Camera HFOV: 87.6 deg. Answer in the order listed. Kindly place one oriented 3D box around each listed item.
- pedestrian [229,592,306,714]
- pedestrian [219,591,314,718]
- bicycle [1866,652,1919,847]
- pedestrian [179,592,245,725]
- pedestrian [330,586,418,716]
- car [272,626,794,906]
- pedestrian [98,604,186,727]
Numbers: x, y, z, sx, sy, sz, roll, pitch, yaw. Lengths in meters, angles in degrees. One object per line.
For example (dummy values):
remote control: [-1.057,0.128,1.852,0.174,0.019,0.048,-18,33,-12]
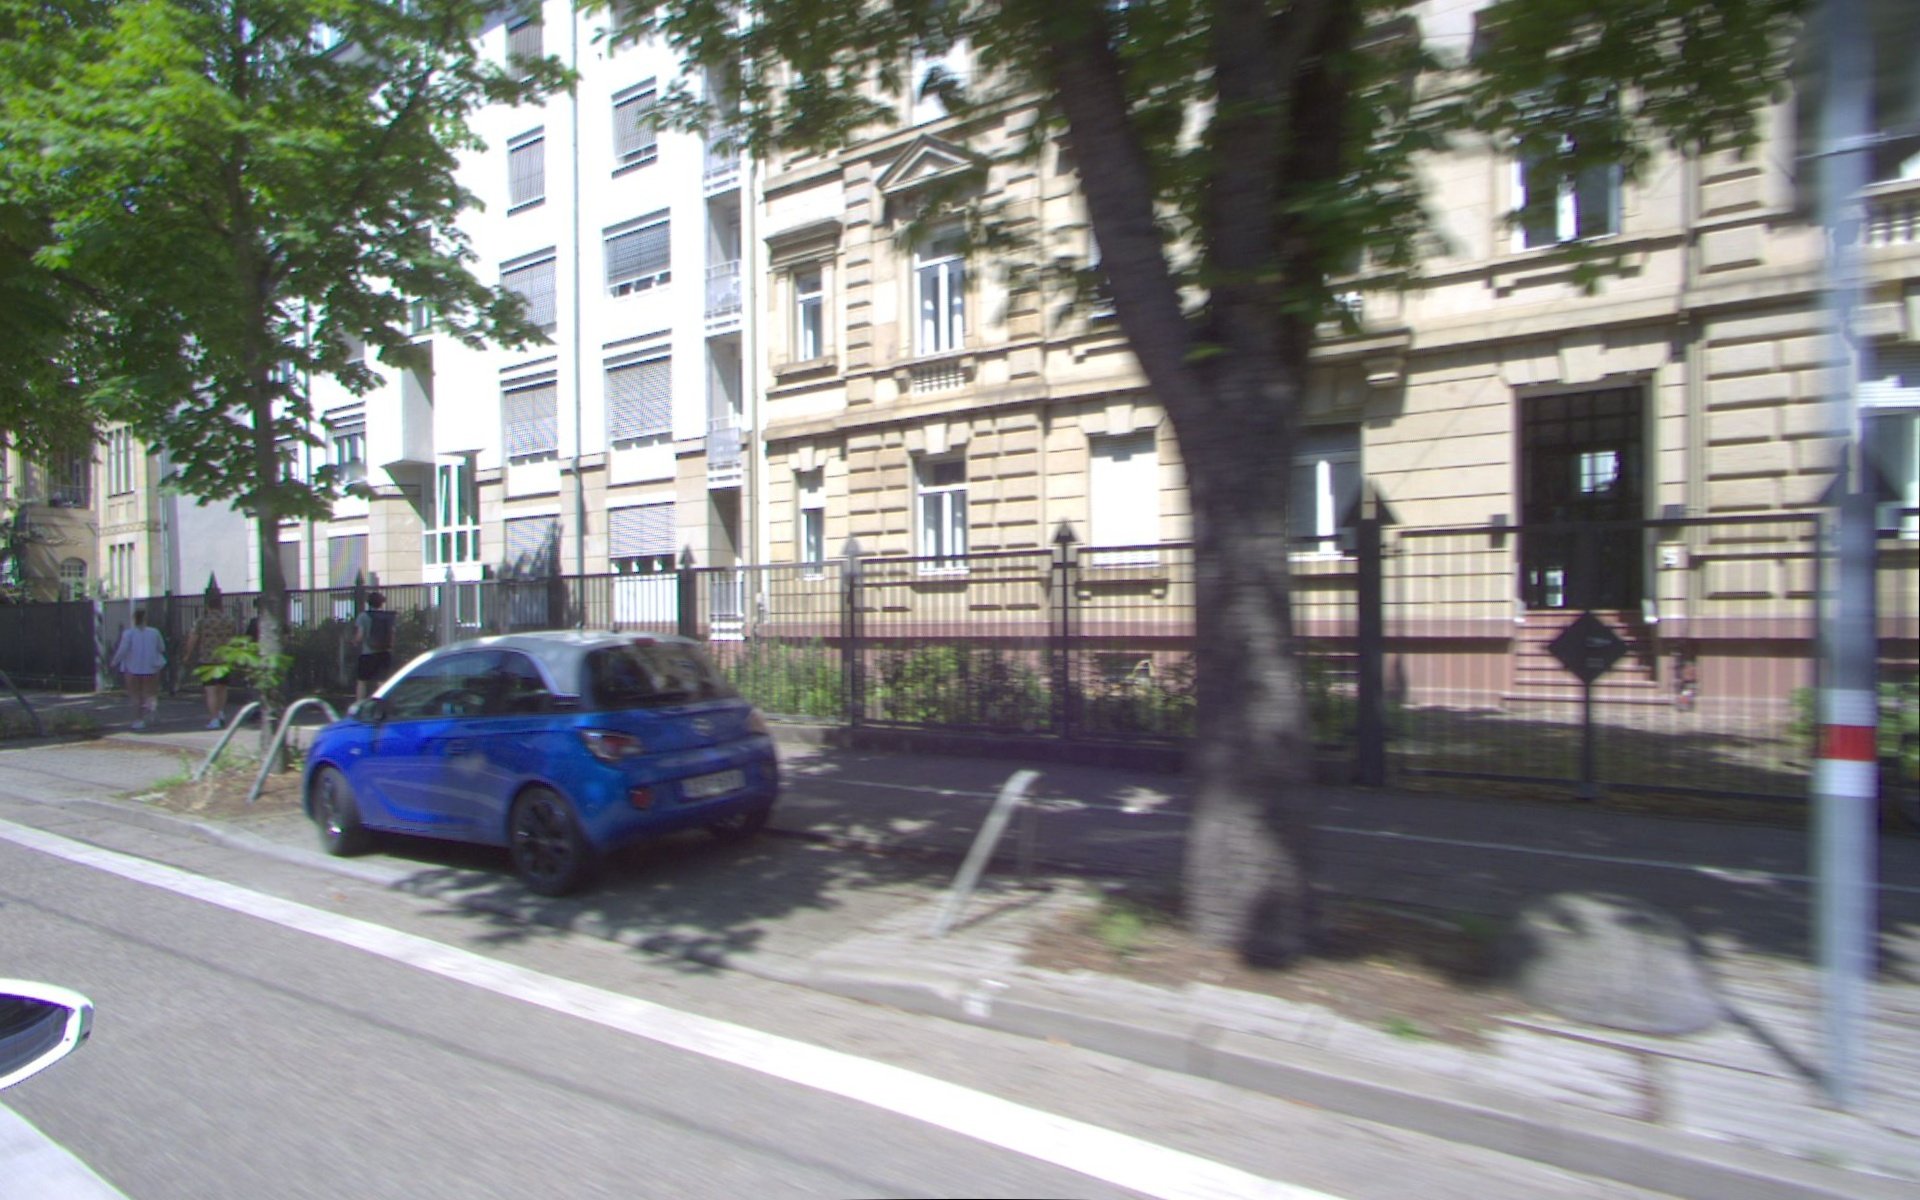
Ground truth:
pedestrian: [-10.757,0.806,15.557,0.963,1.835,0.659,-1,0,32]
pedestrian: [-10.144,0.779,14.645,1.037,1.785,0.786,-1,0,32]
bicycle: [6.339,0.853,5.491,1.953,1.085,0.606,-1,0,34]
pedestrian: [-10.561,0.800,14.134,0.699,1.800,0.939,-1,0,-39]
pedestrian: [-8.566,0.731,14.634,1.068,1.821,0.683,-1,0,32]
car: [-3.026,0.935,6.989,3.423,1.472,1.688,-1,-1,32]
pedestrian: [-11.598,0.894,14.198,0.961,1.673,0.763,-1,0,37]
